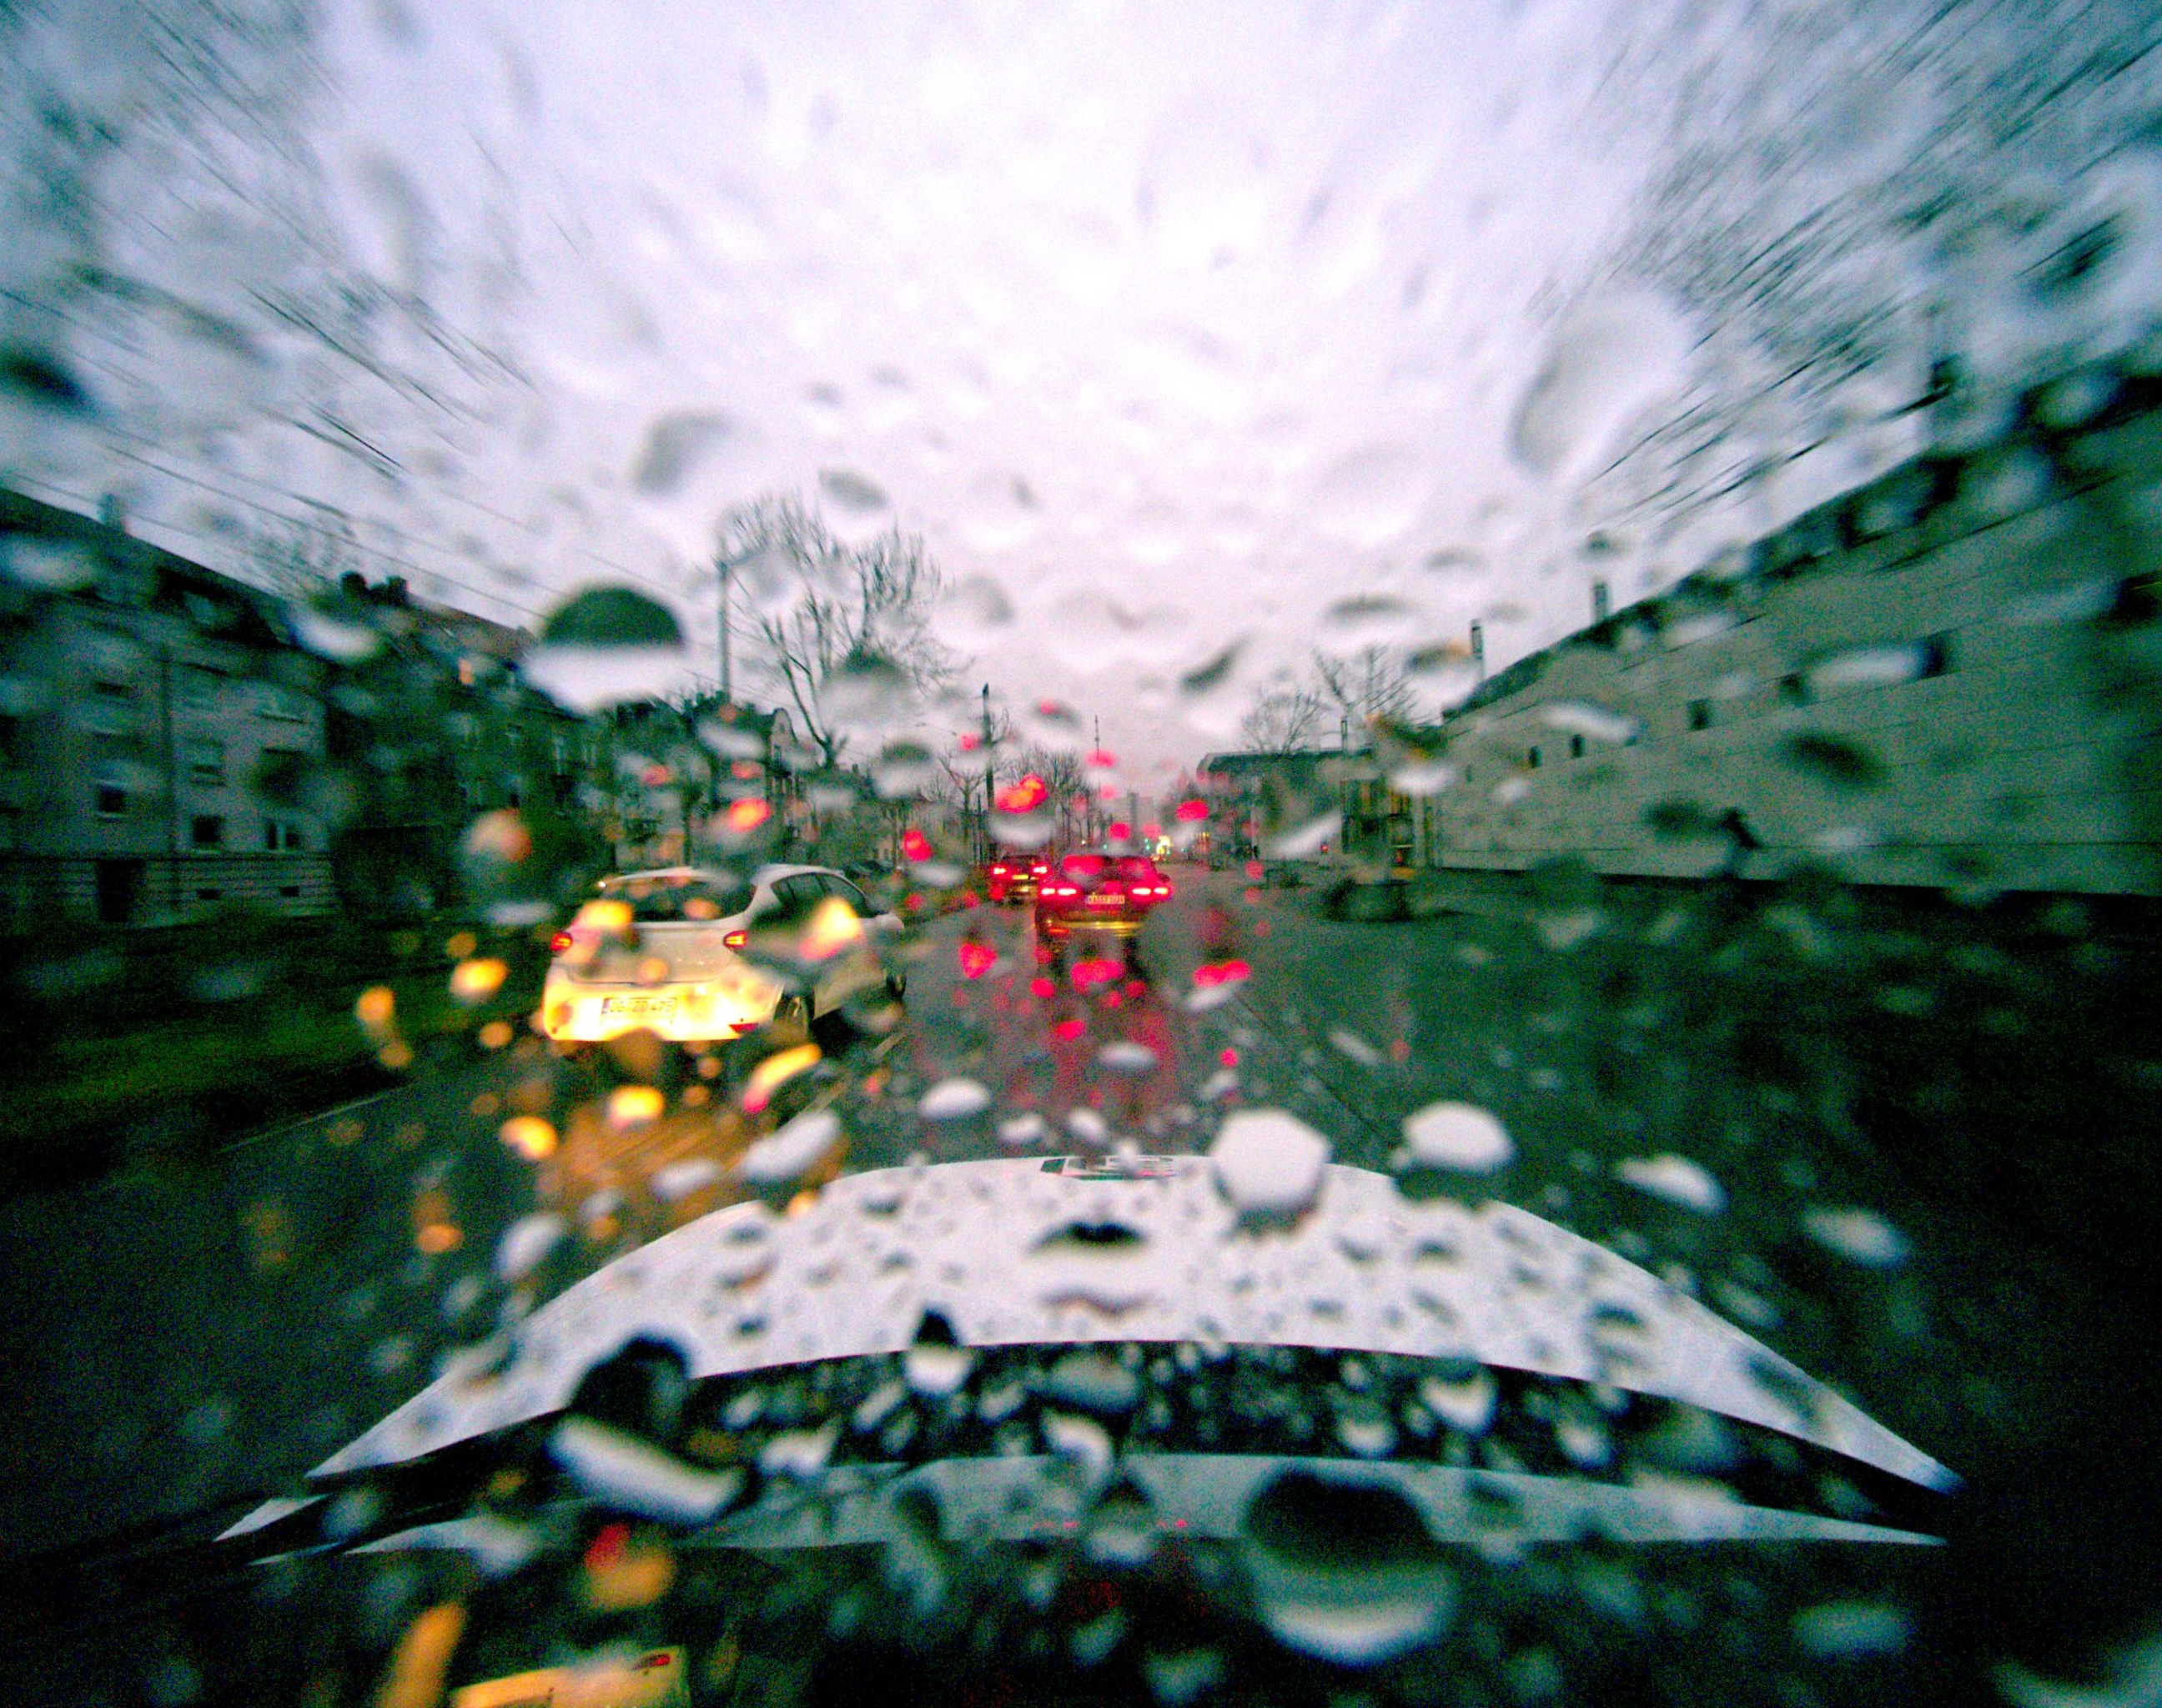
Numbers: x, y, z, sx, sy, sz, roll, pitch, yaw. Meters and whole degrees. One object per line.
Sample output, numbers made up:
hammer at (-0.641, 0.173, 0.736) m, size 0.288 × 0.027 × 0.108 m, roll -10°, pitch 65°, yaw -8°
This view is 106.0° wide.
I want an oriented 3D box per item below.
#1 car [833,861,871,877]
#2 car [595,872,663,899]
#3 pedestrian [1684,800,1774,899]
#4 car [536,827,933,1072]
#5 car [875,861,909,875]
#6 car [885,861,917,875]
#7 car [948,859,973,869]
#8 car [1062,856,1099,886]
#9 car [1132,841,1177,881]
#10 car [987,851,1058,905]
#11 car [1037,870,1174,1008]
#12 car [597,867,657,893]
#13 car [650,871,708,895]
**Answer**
car at (-22.359, 1.452, 79.497) m, size 3.510 × 1.354 × 1.793 m, roll -3°, pitch 0°, yaw 38°
car at (-26.612, 1.835, 48.048) m, size 1.768 × 1.354 × 3.561 m, roll -3°, pitch 0°, yaw 4°
pedestrian at (11.215, -0.076, 14.116) m, size 0.934 × 1.618 × 0.695 m, roll -3°, pitch 0°, yaw 2°
car at (-2.697, 0.640, 7.475) m, size 1.665 × 1.600 × 4.057 m, roll -2°, pitch 0°, yaw 3°
car at (-20.963, 1.597, 90.160) m, size 3.510 × 1.354 × 1.793 m, roll -3°, pitch 0°, yaw 38°
car at (-20.740, 1.596, 93.767) m, size 3.510 × 1.354 × 1.793 m, roll -3°, pitch 0°, yaw 38°
car at (-18.383, 1.486, 124.541) m, size 3.510 × 1.354 × 1.793 m, roll -3°, pitch 0°, yaw 38°
car at (0.026, 0.943, 46.432) m, size 1.664 × 1.600 × 4.060 m, roll -2°, pitch 0°, yaw 5°
car at (3.551, 0.310, 39.401) m, size 1.984 × 1.744 × 4.006 m, roll -3°, pitch 0°, yaw 5°
car at (-1.841, 0.730, 26.818) m, size 1.664 × 1.600 × 4.060 m, roll -2°, pitch 0°, yaw 5°
car at (0.492, 1.099, 12.126) m, size 1.664 × 1.600 × 4.060 m, roll -2°, pitch 0°, yaw 5°
car at (-30.401, 1.727, 54.636) m, size 1.768 × 1.500 × 3.561 m, roll -3°, pitch 0°, yaw 4°
car at (-26.197, 1.864, 53.234) m, size 1.768 × 1.354 × 3.561 m, roll -3°, pitch 0°, yaw 4°
